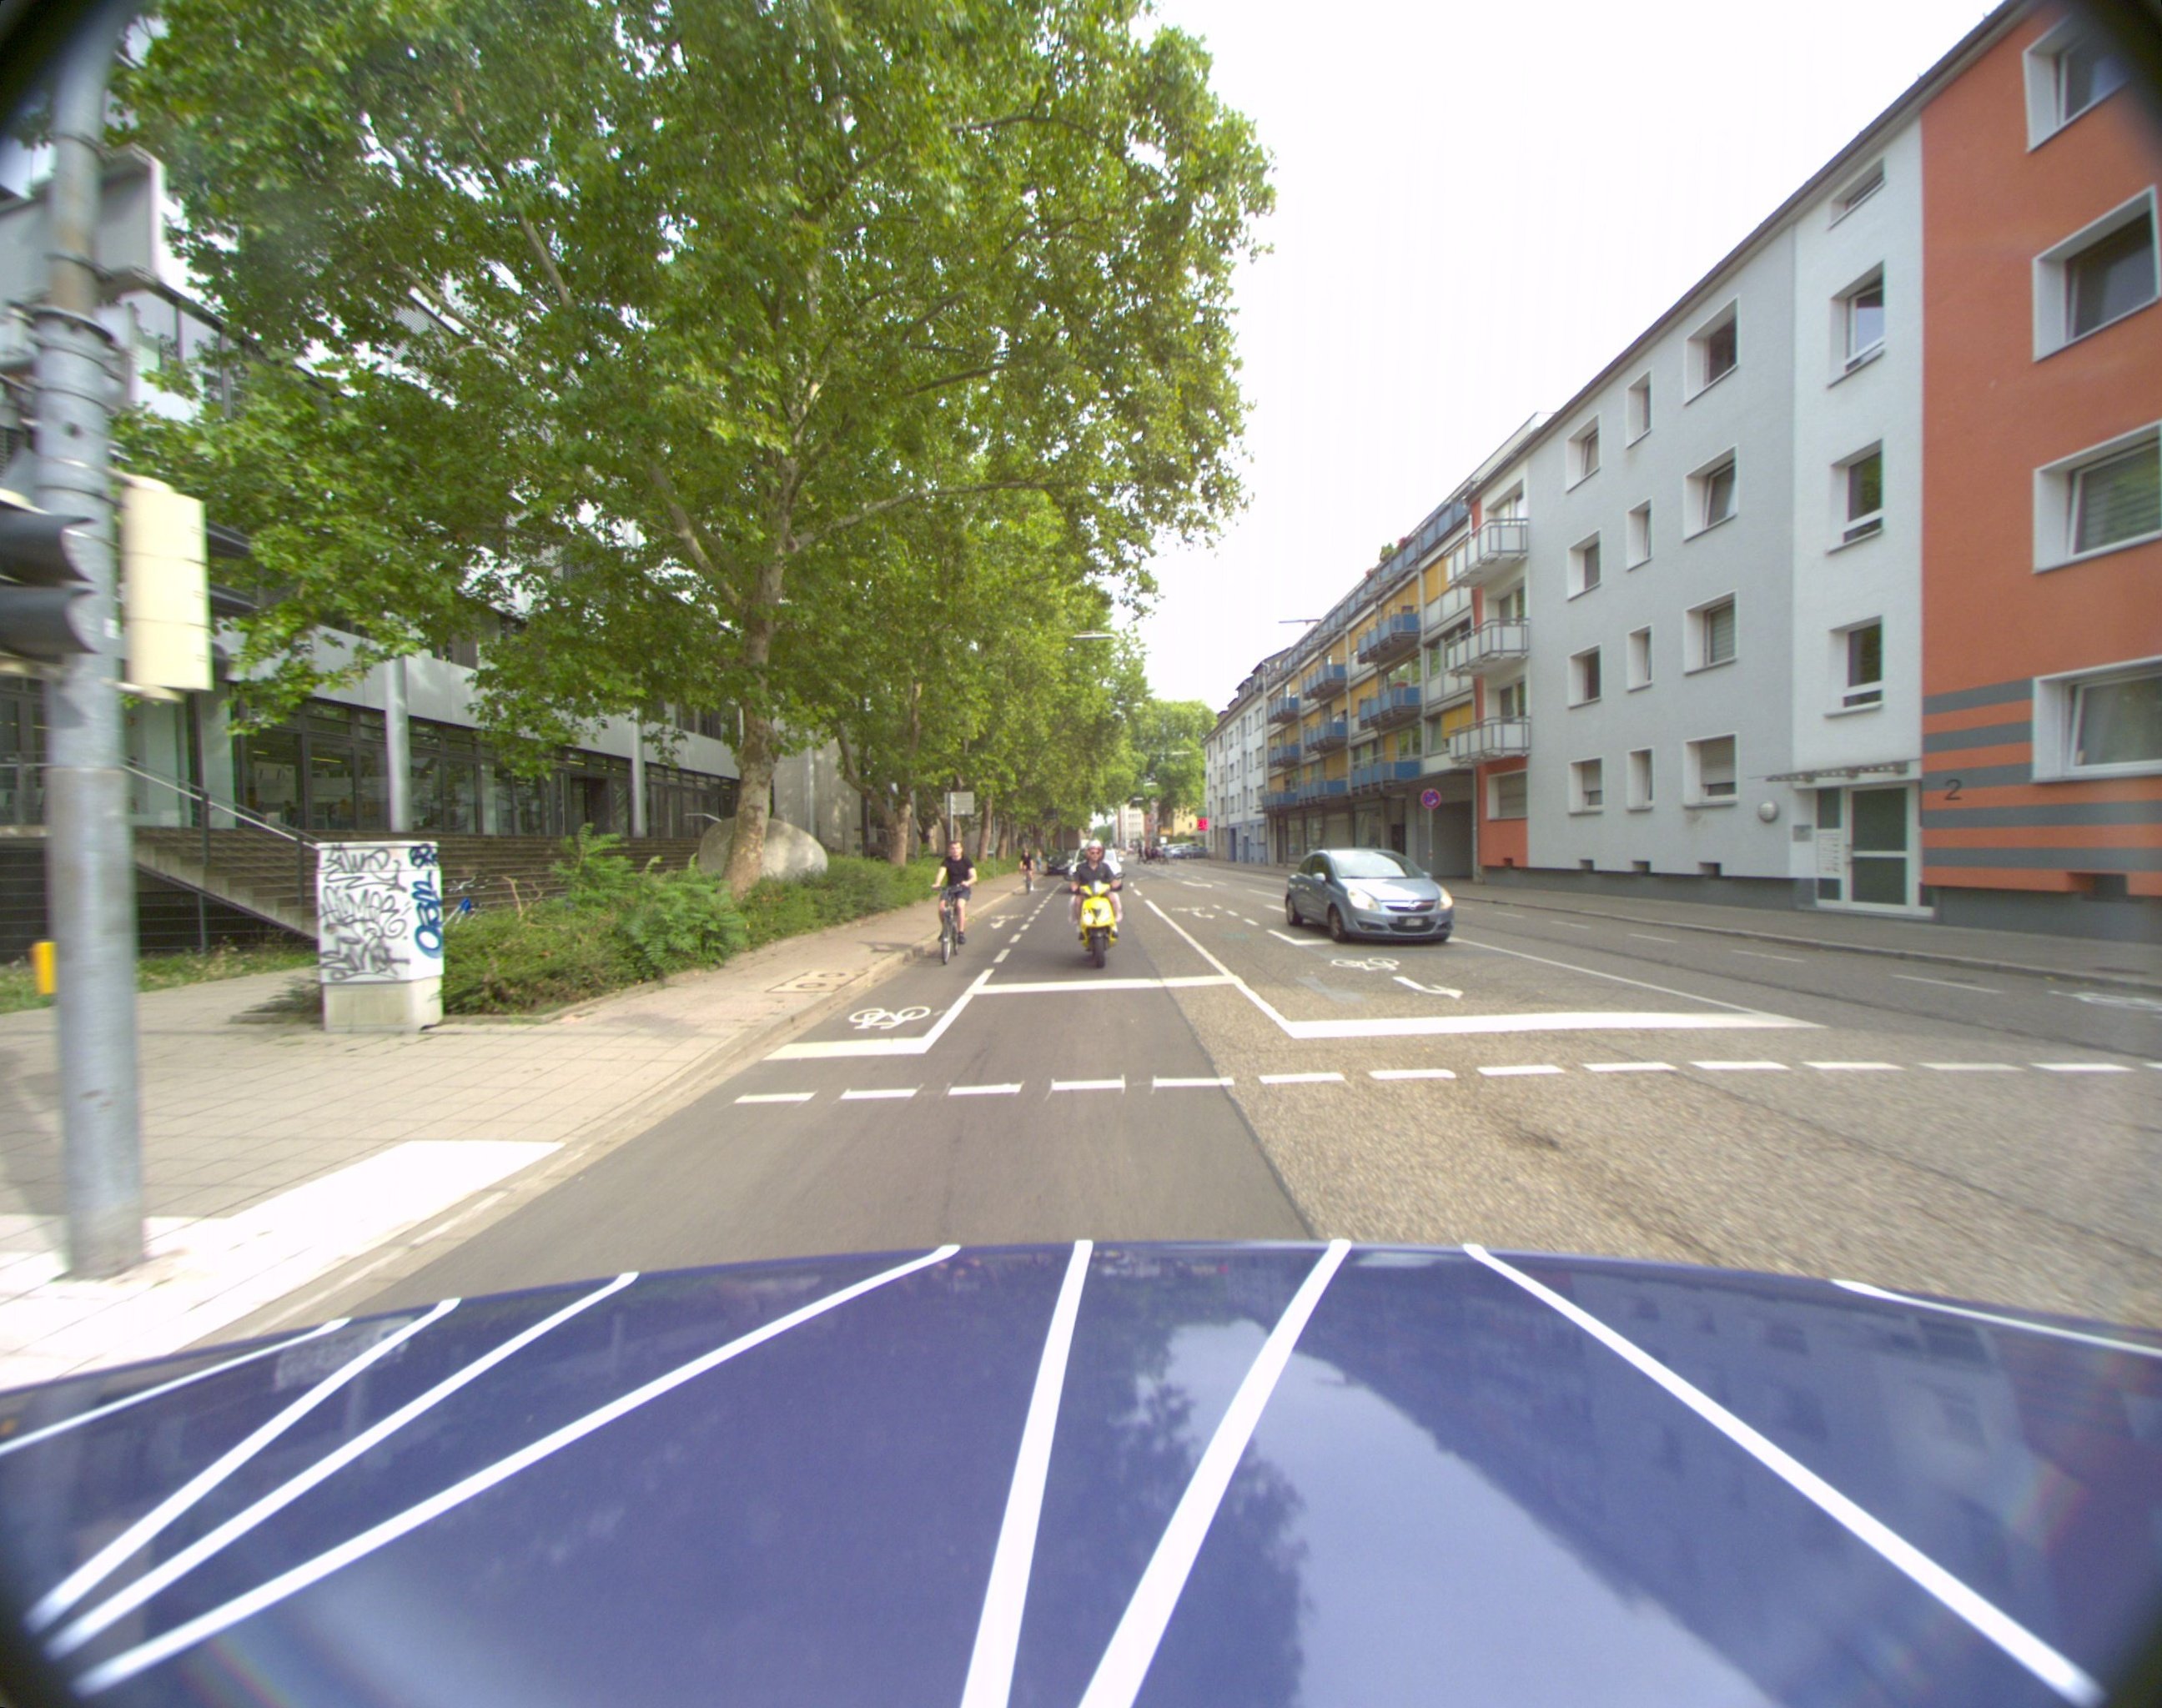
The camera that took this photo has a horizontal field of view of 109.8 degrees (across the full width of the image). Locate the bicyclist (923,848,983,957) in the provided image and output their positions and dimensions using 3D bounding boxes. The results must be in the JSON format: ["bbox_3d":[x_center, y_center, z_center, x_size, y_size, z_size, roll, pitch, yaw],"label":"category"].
[{"bbox_3d":[-1.966,0.718,11.669,0.773,1.574,0.801,-4,1,-11],"label":"bicyclist"}]

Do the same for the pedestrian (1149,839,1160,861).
[{"bbox_3d":[6.926,-0.354,71.569,0.842,2.002,0.875,-3,1,5],"label":"pedestrian"}]

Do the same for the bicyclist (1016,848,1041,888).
[{"bbox_3d":[-1.959,0.518,28.398,0.784,1.438,0.914,-3,1,0],"label":"bicyclist"}]

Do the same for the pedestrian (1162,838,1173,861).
[{"bbox_3d":[7.762,-0.362,67.919,0.842,2.002,0.875,-3,1,5],"label":"pedestrian"}]

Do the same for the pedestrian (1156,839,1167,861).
[{"bbox_3d":[7.392,-0.361,69.798,0.842,2.002,0.875,-3,1,5],"label":"pedestrian"}]

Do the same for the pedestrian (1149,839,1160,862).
[{"bbox_3d":[6.529,-0.295,67.736,0.842,2.002,0.875,-3,1,5],"label":"pedestrian"}]

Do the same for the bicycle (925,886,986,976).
[{"bbox_3d":[-1.925,1.116,11.595,0.773,1.124,2.002,-4,0,-10],"label":"bicycle"}]

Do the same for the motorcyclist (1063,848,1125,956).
[{"bbox_3d":[0.197,0.651,10.607,0.781,1.419,0.689,-2,1,3],"label":"motorcyclist"}]

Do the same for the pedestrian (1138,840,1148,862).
[{"bbox_3d":[5.752,-0.281,70.441,0.842,2.002,0.875,-3,1,5],"label":"pedestrian"}]

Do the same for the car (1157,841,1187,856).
[{"bbox_3d":[13.103,-0.814,109.040,3.997,2.002,2.000,-3,1,0],"label":"car"}]

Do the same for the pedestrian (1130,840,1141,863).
[{"bbox_3d":[5.008,-0.235,69.755,0.842,2.002,0.875,-3,1,5],"label":"pedestrian"}]

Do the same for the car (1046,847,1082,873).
[{"bbox_3d":[-1.064,0.366,50.058,1.998,1.532,4.271,-3,1,3],"label":"car"}]

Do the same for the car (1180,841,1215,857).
[{"bbox_3d":[14.119,-0.602,92.329,3.870,1.678,1.882,-3,1,0],"label":"car"}]

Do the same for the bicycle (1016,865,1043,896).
[{"bbox_3d":[-1.919,0.978,28.474,0.771,1.009,2.407,-1,1,1],"label":"bicycle"}]

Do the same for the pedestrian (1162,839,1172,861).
[{"bbox_3d":[7.958,-0.395,70.244,0.842,2.002,0.875,-3,1,5],"label":"pedestrian"}]

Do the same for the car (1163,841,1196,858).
[{"bbox_3d":[12.938,-0.626,99.911,3.997,2.002,2.000,-3,1,0],"label":"car"}]

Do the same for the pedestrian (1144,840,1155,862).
[{"bbox_3d":[6.152,-0.282,68.473,0.842,2.002,0.875,-3,1,5],"label":"pedestrian"}]

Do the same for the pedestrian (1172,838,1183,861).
[{"bbox_3d":[8.629,-0.408,68.016,0.842,2.002,0.875,-3,1,5],"label":"pedestrian"}]

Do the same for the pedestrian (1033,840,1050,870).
[{"bbox_3d":[-2.787,0.074,53.499,1.003,2.002,0.997,-3,1,3],"label":"pedestrian"}]

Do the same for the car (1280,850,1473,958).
[{"bbox_3d":[4.599,0.685,12.429,1.673,1.430,3.819,-1,1,0],"label":"car"}]

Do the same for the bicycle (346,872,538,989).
[{"bbox_3d":[-7.418,0.834,8.950,0.700,1.162,1.725,-3,1,1],"label":"bicycle"}]

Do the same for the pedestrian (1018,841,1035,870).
[{"bbox_3d":[-3.831,0.116,53.568,1.003,2.002,0.997,-3,1,3],"label":"pedestrian"}]

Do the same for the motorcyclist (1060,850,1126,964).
[{"bbox_3d":[0.175,0.673,10.005,0.781,1.419,0.764,-2,1,3],"label":"motorcyclist"}]

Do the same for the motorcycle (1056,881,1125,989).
[{"bbox_3d":[0.164,1.013,10.102,0.781,1.171,1.992,-2,1,3],"label":"motorcycle"}]

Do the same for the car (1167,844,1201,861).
[{"bbox_3d":[13.124,-0.177,97.217,3.997,2.002,2.000,-3,1,0],"label":"car"}]

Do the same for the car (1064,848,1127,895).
[{"bbox_3d":[0.626,0.592,28.724,1.998,1.543,4.522,-3,1,5],"label":"car"}]
